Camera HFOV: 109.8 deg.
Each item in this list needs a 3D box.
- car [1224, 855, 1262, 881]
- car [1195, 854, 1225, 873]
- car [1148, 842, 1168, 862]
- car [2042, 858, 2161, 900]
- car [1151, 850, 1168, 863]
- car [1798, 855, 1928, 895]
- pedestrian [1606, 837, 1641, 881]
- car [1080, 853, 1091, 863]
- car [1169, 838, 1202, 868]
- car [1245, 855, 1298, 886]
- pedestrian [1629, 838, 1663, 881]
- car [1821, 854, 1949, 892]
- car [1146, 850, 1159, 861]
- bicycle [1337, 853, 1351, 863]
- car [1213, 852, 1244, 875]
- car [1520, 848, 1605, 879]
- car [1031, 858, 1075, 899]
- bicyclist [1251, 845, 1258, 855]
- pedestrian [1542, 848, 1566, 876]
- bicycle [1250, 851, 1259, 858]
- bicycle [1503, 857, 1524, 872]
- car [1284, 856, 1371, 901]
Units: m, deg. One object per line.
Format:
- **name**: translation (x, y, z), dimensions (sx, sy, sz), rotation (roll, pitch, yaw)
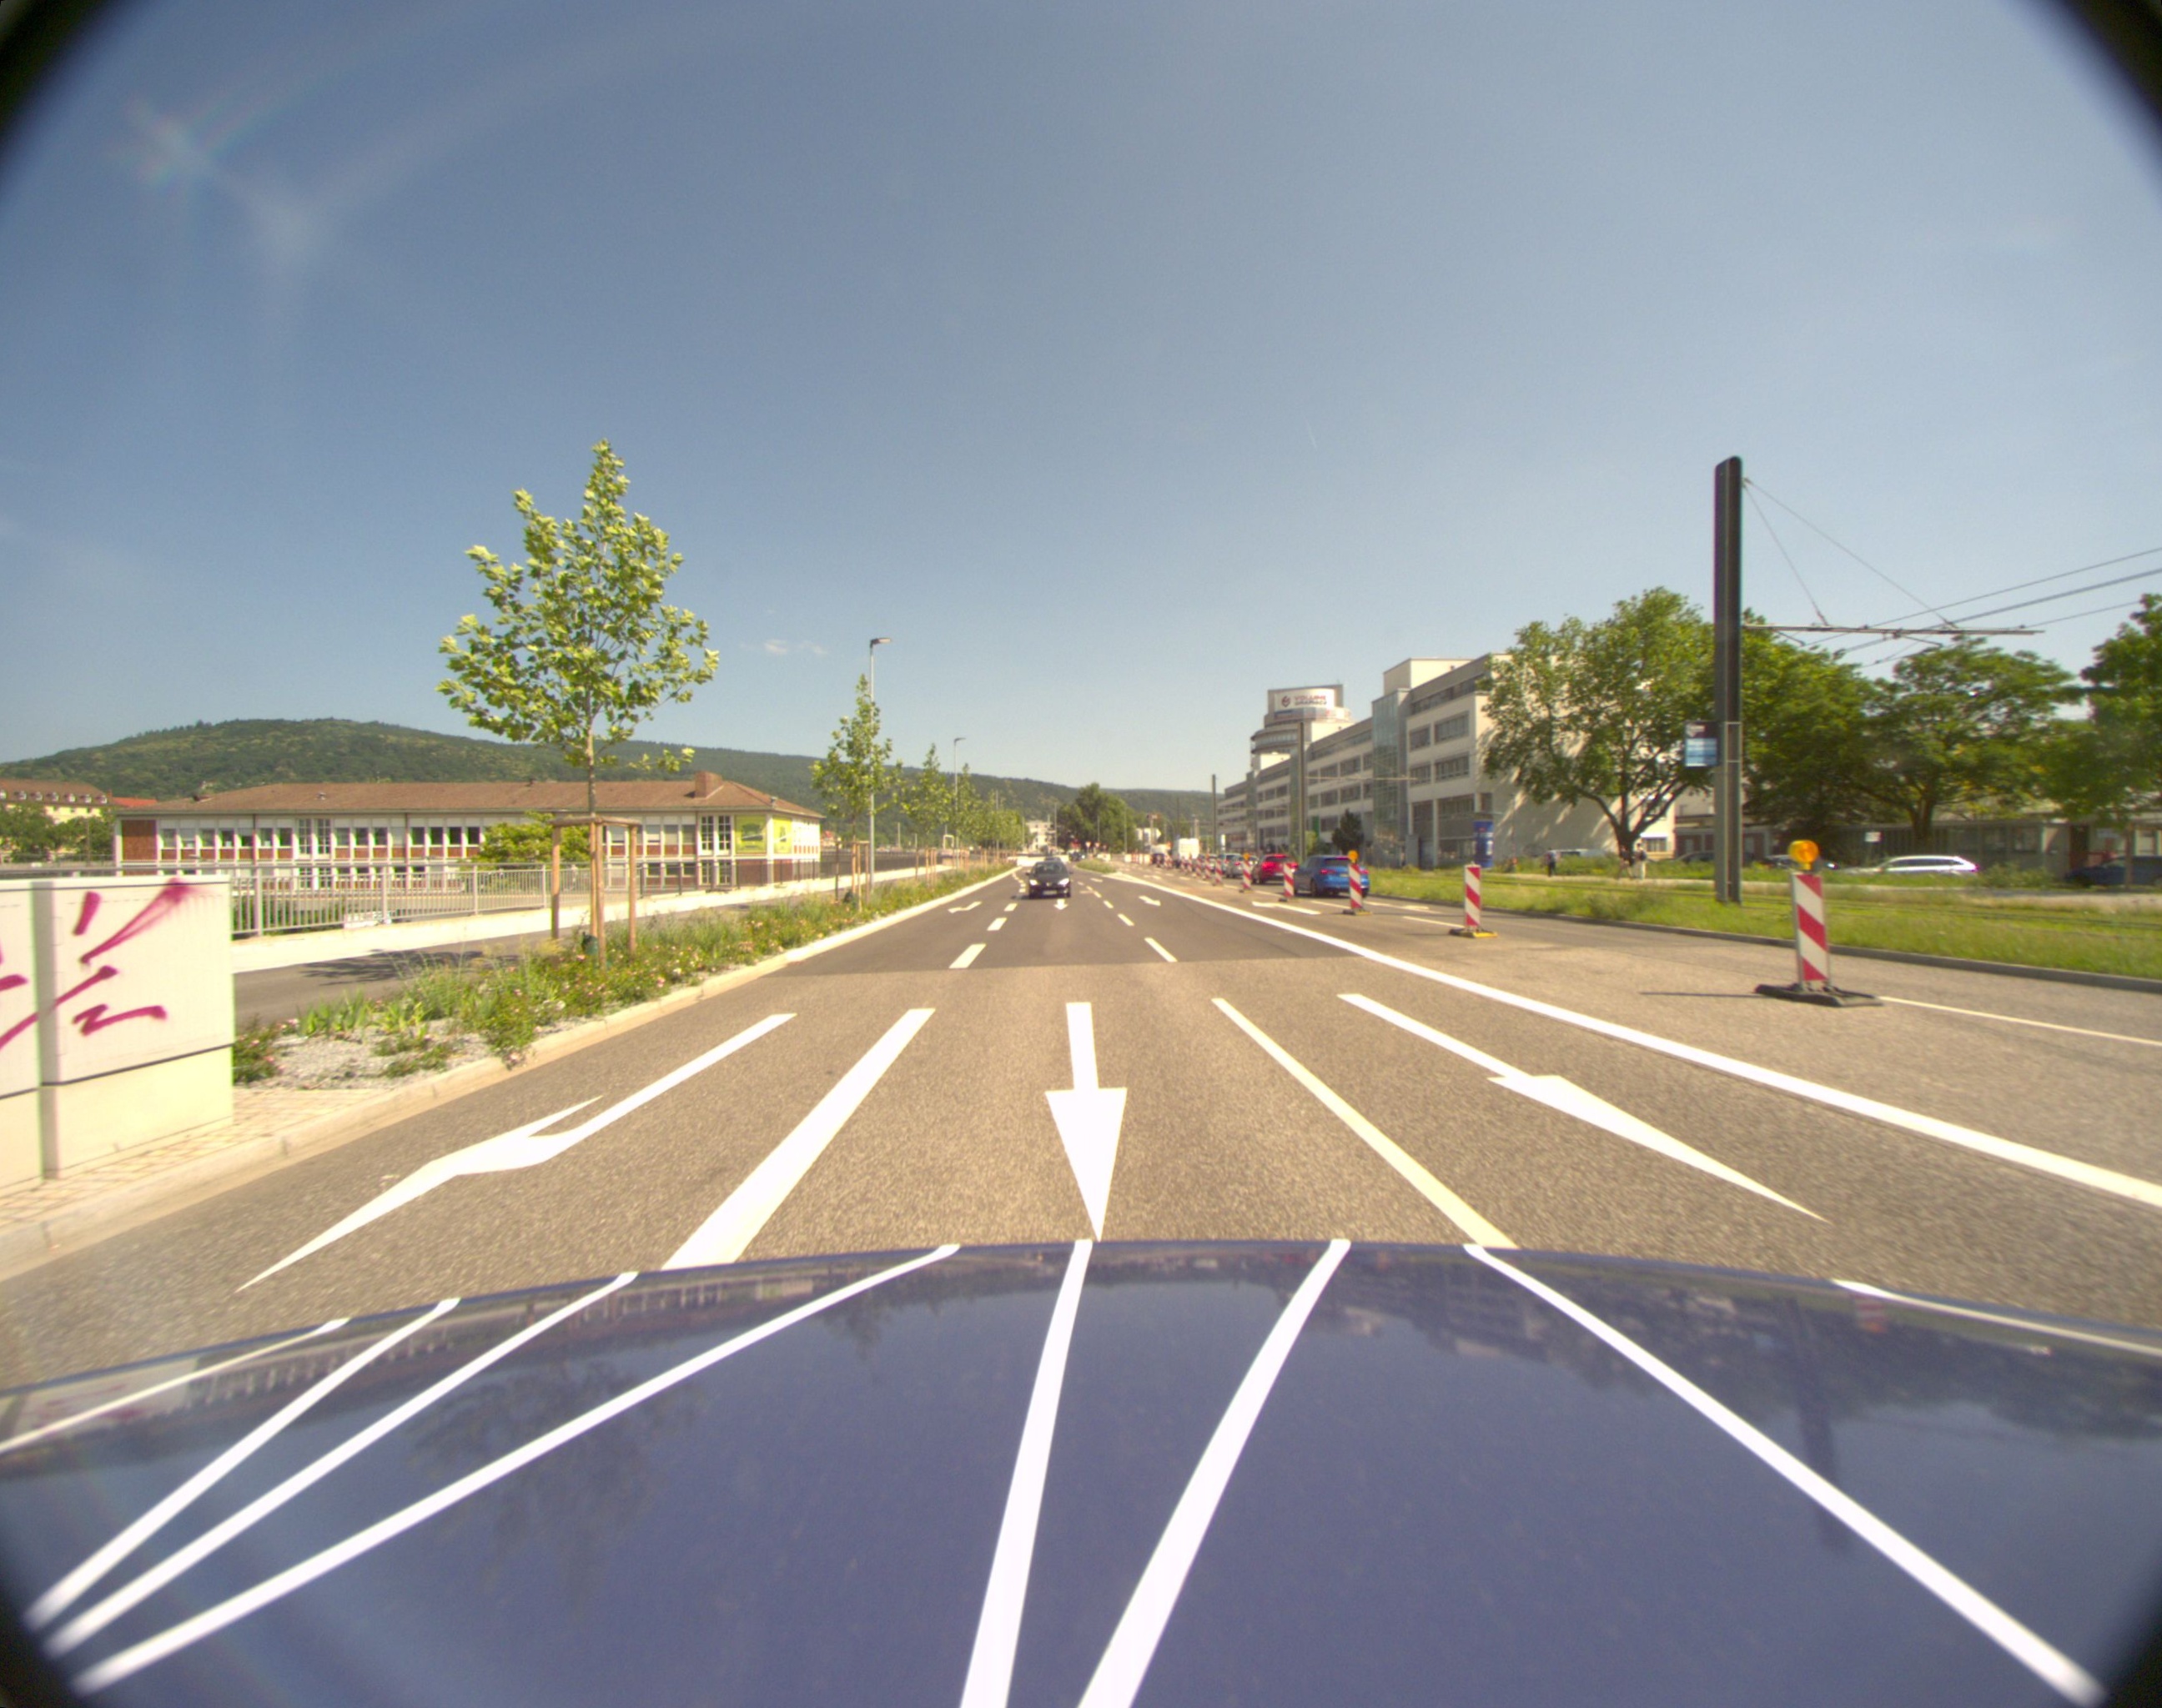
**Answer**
- **car**: translation (9.711, 0.817, 45.858), dimensions (1.583, 1.408, 4.297), rotation (0, 1, 3)
- **car**: translation (10.229, 0.729, 60.641), dimensions (1.677, 1.435, 4.468), rotation (1, 1, 1)
- **car**: translation (10.612, -0.291, 105.574), dimensions (2.036, 2.564, 6.193), rotation (2, 0, 0)
- **car**: translation (43.893, 1.001, 32.117), dimensions (1.773, 1.581, 3.635), rotation (-3, 0, -6)
- **car**: translation (9.471, 0.298, 91.975), dimensions (1.549, 1.448, 4.191), rotation (1, 0, -1)
- **car**: translation (34.148, 0.885, 33.321), dimensions (1.773, 1.581, 3.635), rotation (-3, 0, -6)
- **pedestrian**: translation (25.781, 0.227, 36.103), dimensions (0.985, 2.002, 0.910), rotation (-2, 1, 1)
- **car**: translation (0.766, 0.604, 123.384), dimensions (1.618, 1.433, 3.767), rotation (-2, 1, -1)
- **car**: translation (9.962, -0.147, 72.880), dimensions (2.083, 2.724, 5.984), rotation (1, 1, -1)
- **car**: translation (9.225, 0.768, 37.053), dimensions (1.584, 1.408, 3.999), rotation (0, 1, 1)
- **pedestrian**: translation (26.793, 0.257, 36.052), dimensions (0.841, 2.002, 0.983), rotation (-2, 1, 1)
- **car**: translation (36.456, 0.818, 34.585), dimensions (1.773, 1.581, 3.635), rotation (-3, 0, -6)
- **car**: translation (10.649, 0.259, 113.775), dimensions (1.584, 1.532, 3.978), rotation (2, 0, 1)
- **bicycle**: translation (33.464, 0.508, 96.605), dimensions (1.651, 1.182, 0.438), rotation (-2, 1, -1)
- **car**: translation (10.404, 0.627, 53.692), dimensions (1.584, 1.521, 3.621), rotation (1, 1, 2)
- **car**: translation (35.170, 0.665, 55.696), dimensions (5.063, 2.167, 2.117), rotation (-1, 1, 25)
- **car**: translation (-1.119, 0.926, 30.199), dimensions (1.619, 1.433, 3.705), rotation (-1, 1, -3)
- **bicyclist**: translation (28.776, -0.668, 126.071), dimensions (0.756, 1.530, 1.077), rotation (-1, 1, 0)
- **pedestrian**: translation (26.498, 0.455, 42.556), dimensions (0.816, 1.567, 0.827), rotation (-1, 1, 4)
- **bicycle**: translation (28.786, 0.106, 126.083), dimensions (0.756, 1.012, 2.830), rotation (-1, 1, 0)
- **bicycle**: translation (28.120, 0.684, 49.409), dimensions (0.461, 0.980, 1.557), rotation (-1, 1, 2)
- **car**: translation (8.355, 0.778, 26.126), dimensions (1.632, 1.419, 4.290), rotation (0, 0, 0)
